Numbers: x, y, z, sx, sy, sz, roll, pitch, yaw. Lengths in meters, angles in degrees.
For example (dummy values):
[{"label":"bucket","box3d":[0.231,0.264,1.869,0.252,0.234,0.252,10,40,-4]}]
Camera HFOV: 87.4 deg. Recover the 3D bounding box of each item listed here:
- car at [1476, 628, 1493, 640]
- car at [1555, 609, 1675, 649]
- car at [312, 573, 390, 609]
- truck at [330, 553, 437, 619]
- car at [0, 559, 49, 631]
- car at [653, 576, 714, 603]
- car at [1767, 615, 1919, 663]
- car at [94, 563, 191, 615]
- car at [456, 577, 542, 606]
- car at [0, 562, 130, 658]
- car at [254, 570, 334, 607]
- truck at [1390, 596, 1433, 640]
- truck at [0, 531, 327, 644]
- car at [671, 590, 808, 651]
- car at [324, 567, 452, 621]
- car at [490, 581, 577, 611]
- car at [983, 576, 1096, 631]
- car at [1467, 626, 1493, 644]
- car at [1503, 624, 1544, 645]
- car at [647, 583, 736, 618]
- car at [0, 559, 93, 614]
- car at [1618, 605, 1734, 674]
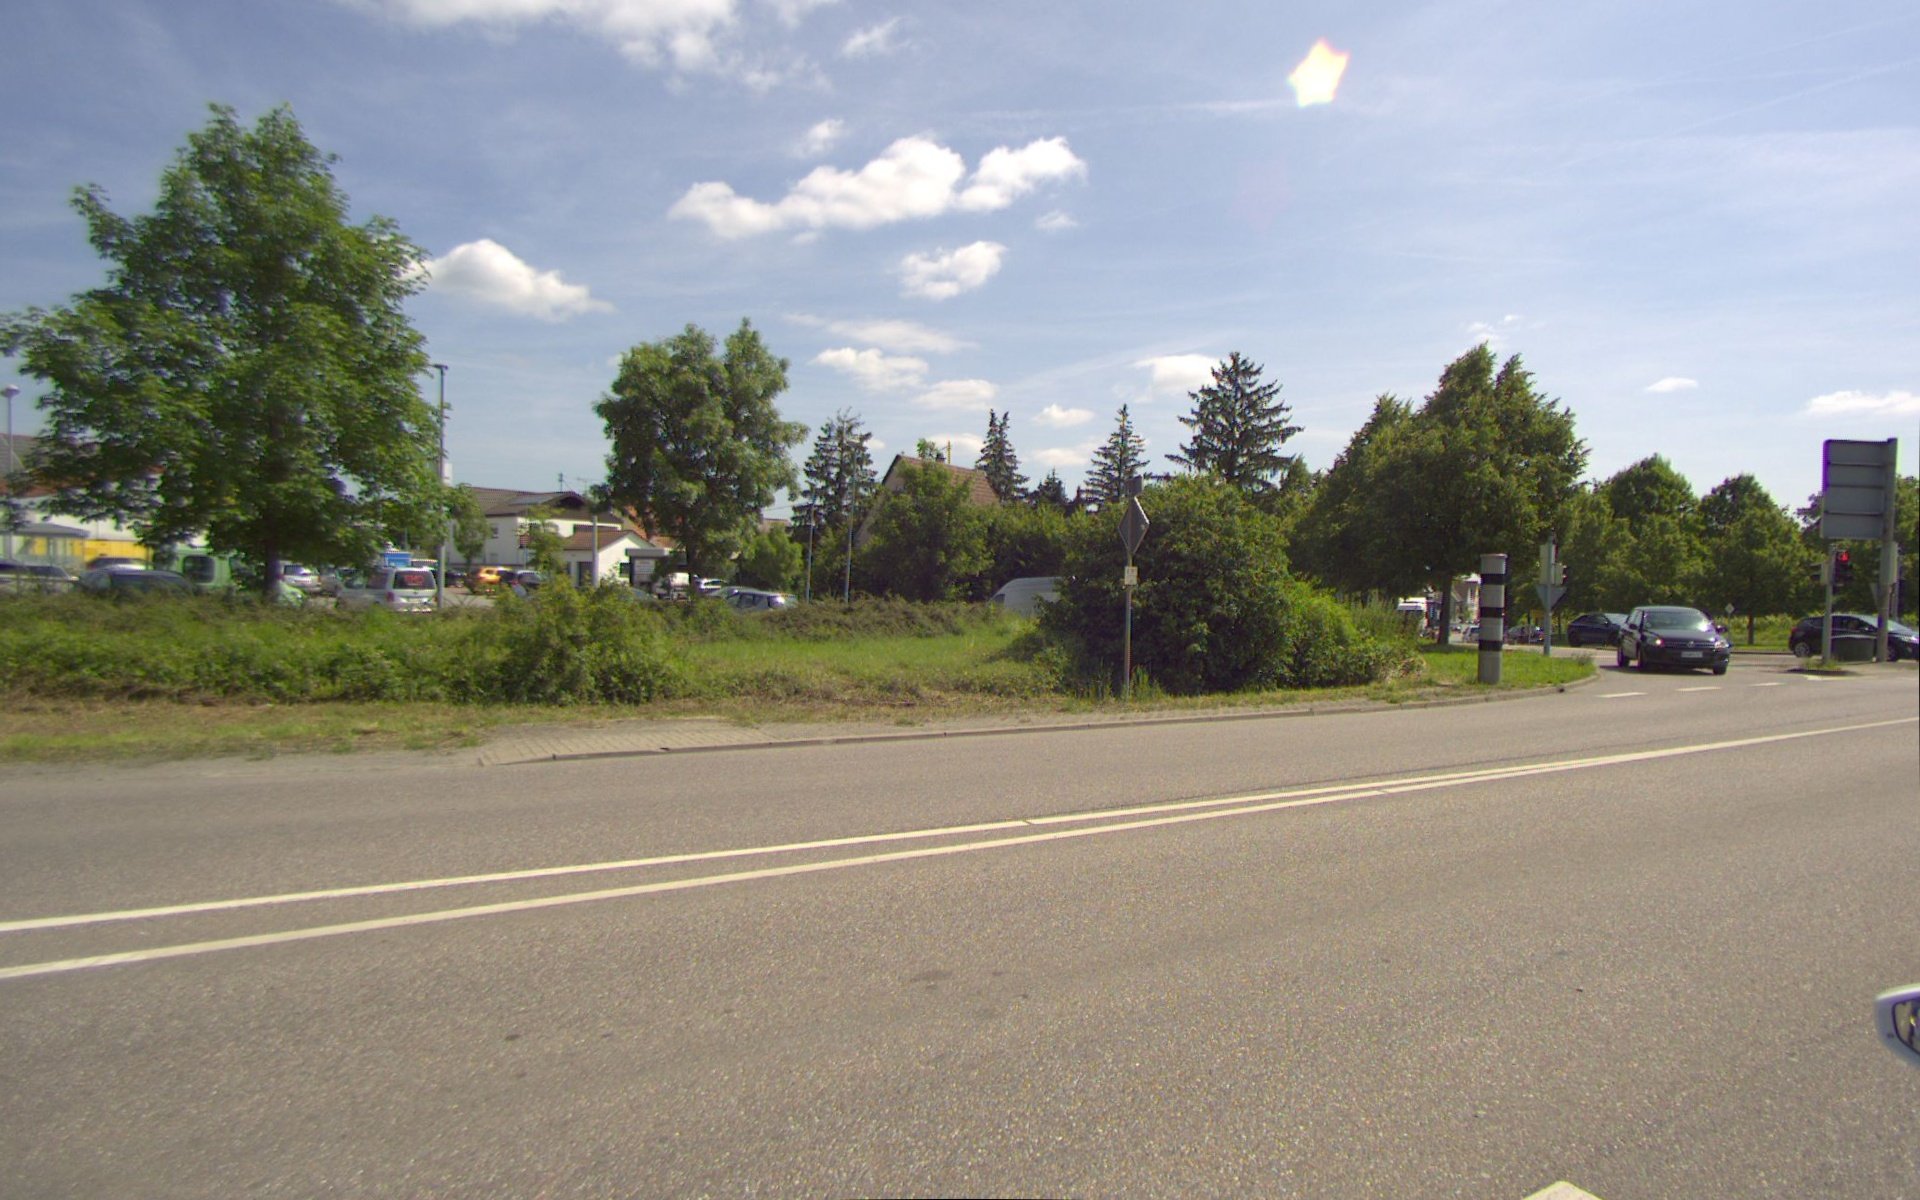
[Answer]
[{"label":"car","box3d":[69.711,4.501,133.507,1.964,1.448,3.994,2,0,28]},{"label":"car","box3d":[26.899,1.160,41.420,1.710,1.448,4.274,2,0,-9]},{"label":"car","box3d":[-29.016,-0.442,47.813,4.193,1.562,1.871,2,0,40]},{"label":"truck","box3d":[-22.345,-0.544,38.910,3.932,2.397,1.994,2,0,34]},{"label":"car","box3d":[-24.809,-0.185,25.552,3.939,1.697,1.903,3,1,40]},{"label":"car","box3d":[-20.183,-0.740,73.405,1.866,1.782,3.988,2,0,35]},{"label":"car","box3d":[28.470,1.201,31.876,1.712,1.322,4.269,2,0,-13]},{"label":"car","box3d":[-26.516,-0.361,32.548,3.941,1.549,1.770,2,0,41]},{"label":"car","box3d":[-27.135,-0.500,59.219,1.849,1.562,4.243,2,0,37]},{"label":"car","box3d":[-17.562,0.154,19.450,3.941,1.679,1.686,2,0,42]},{"label":"car","box3d":[-30.293,-0.519,45.669,4.193,1.562,1.871,2,0,40]},{"label":"truck","box3d":[42.541,1.719,94.502,2.893,3.848,7.914,2,0,29]},{"label":"truck","box3d":[-19.420,-0.244,24.547,2.214,2.407,6.322,1,0,39]},{"label":"car","box3d":[-7.086,0.630,32.189,3.928,1.751,1.997,2,0,29]},{"label":"car","box3d":[-19.322,-0.224,33.881,4.353,1.717,1.994,1,0,34]},{"label":"car","box3d":[-24.556,-0.211,57.963,1.849,1.562,4.243,2,0,37]},{"label":"car","box3d":[3.459,0.121,44.142,4.524,2.209,1.992,2,1,37]},{"label":"car","box3d":[42.702,2.898,82.530,1.644,1.375,3.859,2,-2,24]},{"label":"car","box3d":[38.818,2.329,69.279,1.707,1.322,4.281,1,0,19]},{"label":"car","box3d":[-13.590,0.050,51.012,1.883,1.662,3.984,2,0,38]},{"label":"car","box3d":[-28.231,-0.434,30.734,3.936,1.549,1.772,2,0,37]},{"label":"car","box3d":[18.385,0.950,25.966,1.776,1.619,4.264,0,0,26]}]
